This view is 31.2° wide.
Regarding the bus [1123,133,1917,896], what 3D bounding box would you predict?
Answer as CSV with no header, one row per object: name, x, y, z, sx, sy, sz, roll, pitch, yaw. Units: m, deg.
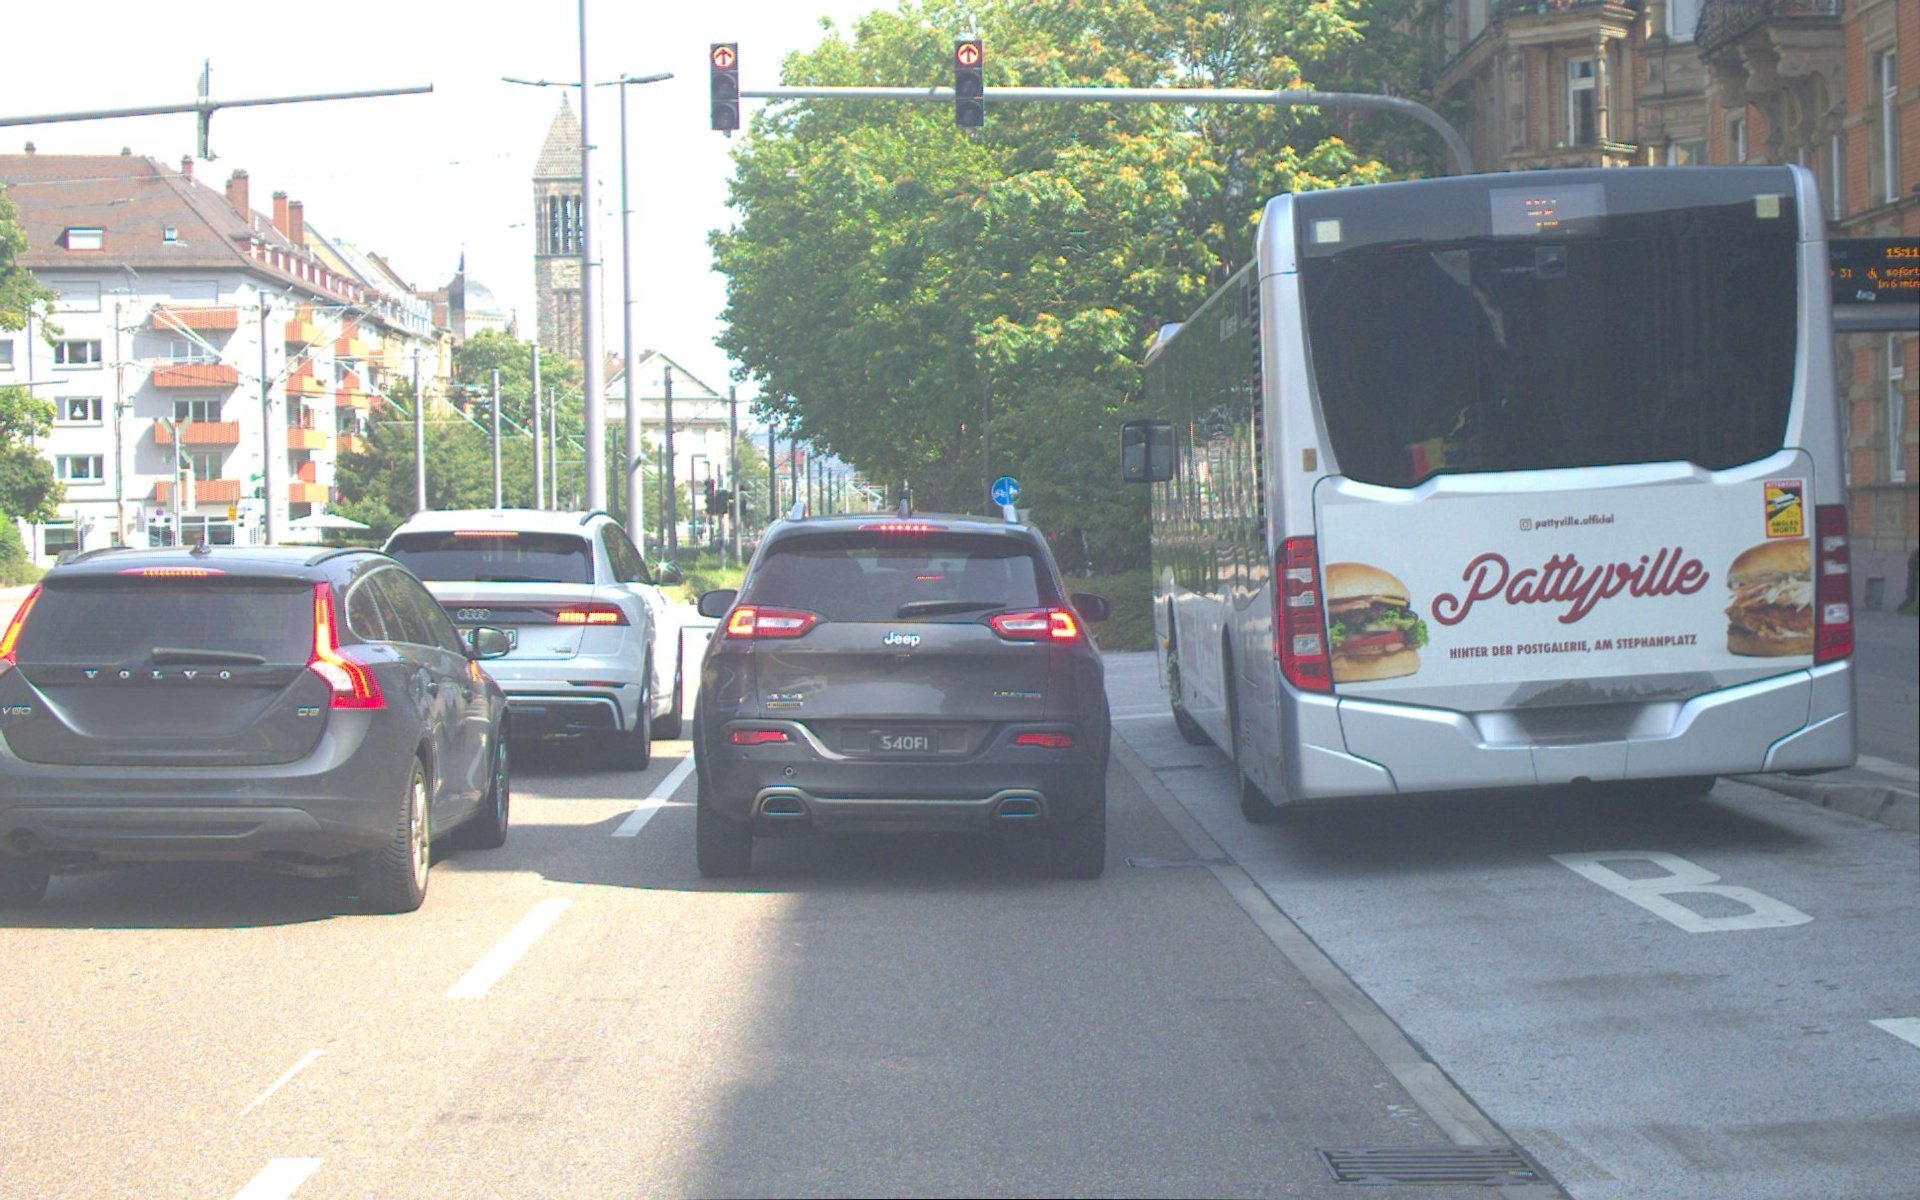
bus,2.675,-0.472,20.667,2.743,3.096,11.956,-3,1,1

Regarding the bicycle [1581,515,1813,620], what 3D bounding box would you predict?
bicycle,10.182,-0.457,47.536,2.993,1.366,0.871,-1,1,-2

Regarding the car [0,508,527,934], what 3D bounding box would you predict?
car,-3.015,0.413,15.176,1.747,1.609,4.309,0,1,-1

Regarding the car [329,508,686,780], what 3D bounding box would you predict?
car,-2.912,0.215,22.986,1.902,1.646,4.309,0,1,-1

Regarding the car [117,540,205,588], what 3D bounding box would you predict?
car,-26.135,-1.184,112.575,1.746,1.430,4.573,-2,1,0

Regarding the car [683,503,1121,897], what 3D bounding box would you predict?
car,-0.250,0.375,16.621,1.832,1.646,4.308,0,1,0

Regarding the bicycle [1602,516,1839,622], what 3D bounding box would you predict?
bicycle,10.297,-0.425,46.632,2.993,1.366,0.871,-1,1,-2
